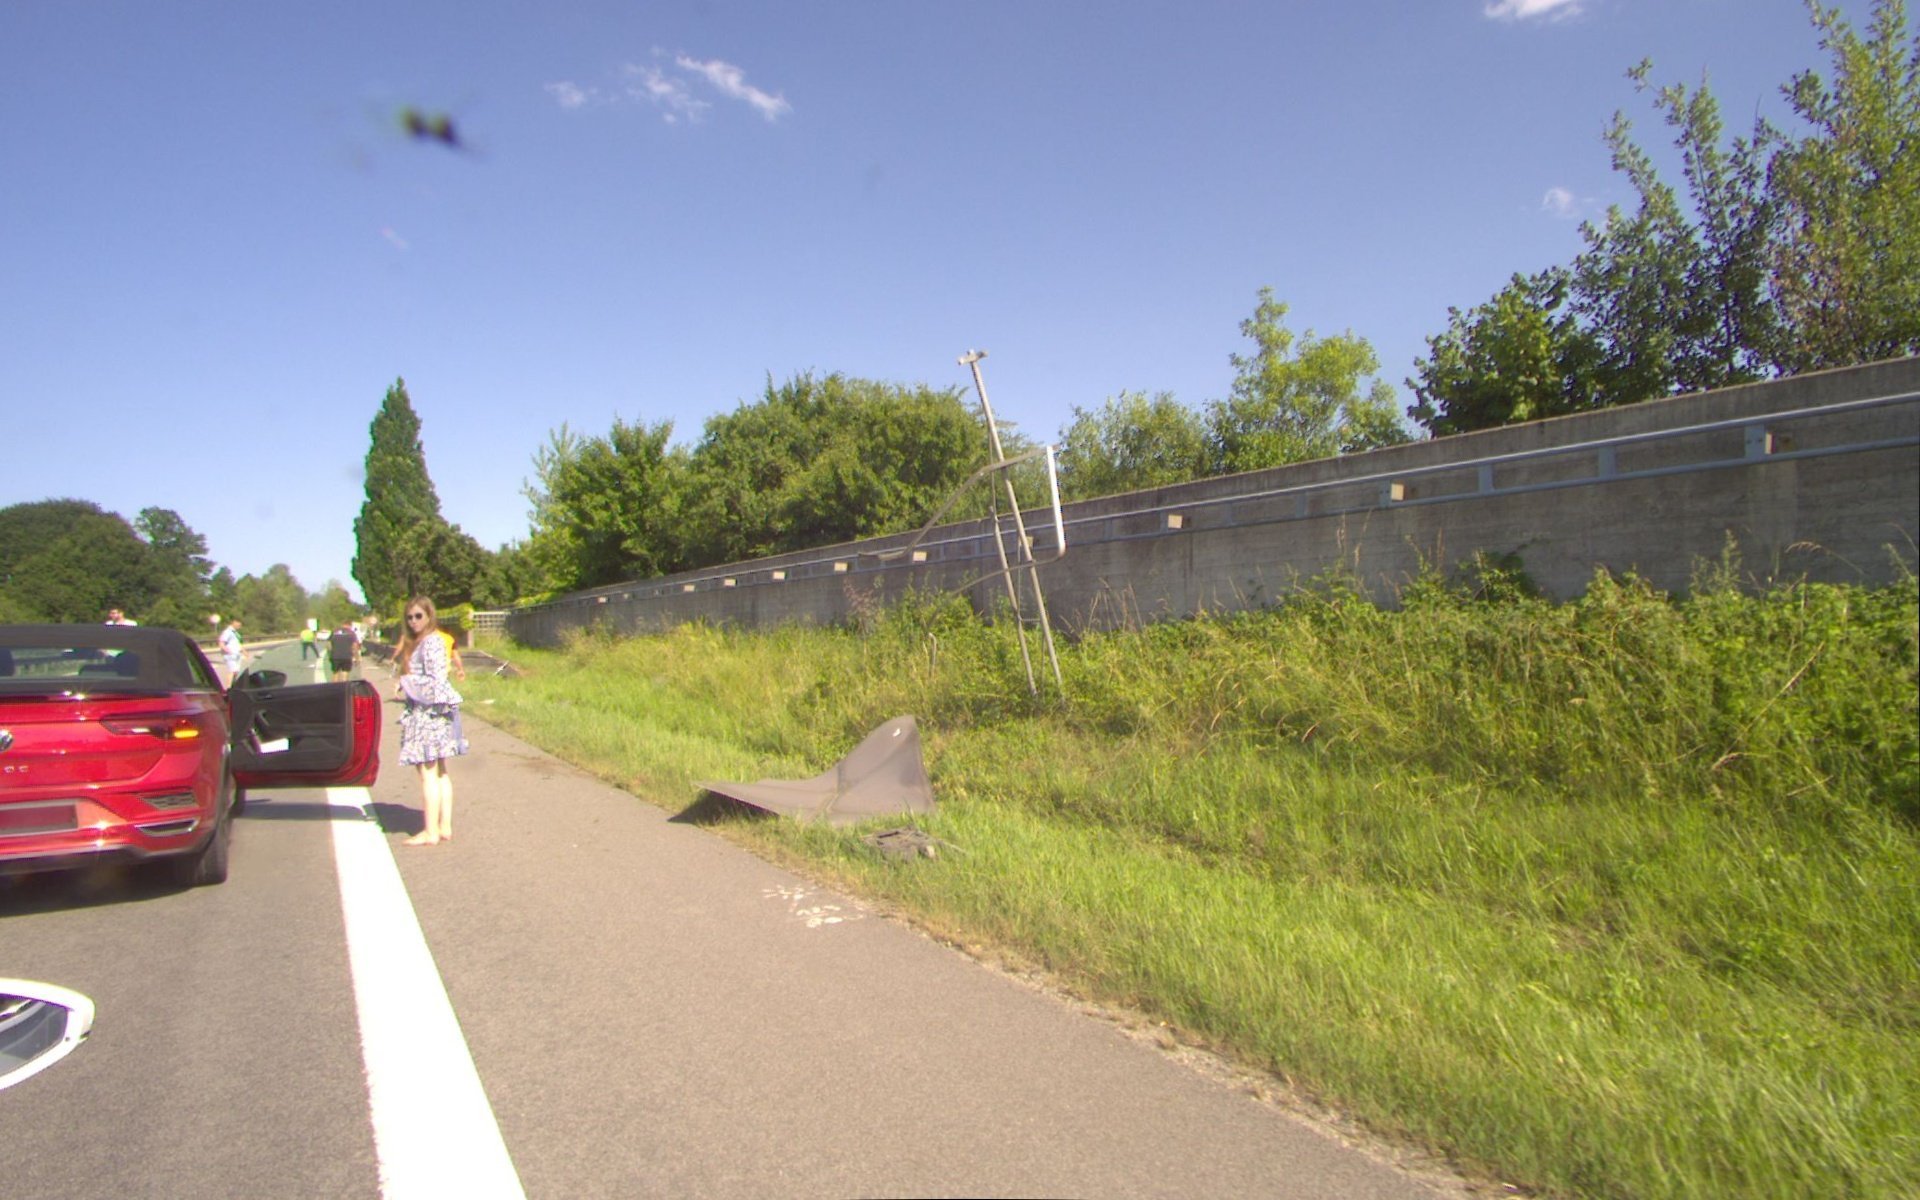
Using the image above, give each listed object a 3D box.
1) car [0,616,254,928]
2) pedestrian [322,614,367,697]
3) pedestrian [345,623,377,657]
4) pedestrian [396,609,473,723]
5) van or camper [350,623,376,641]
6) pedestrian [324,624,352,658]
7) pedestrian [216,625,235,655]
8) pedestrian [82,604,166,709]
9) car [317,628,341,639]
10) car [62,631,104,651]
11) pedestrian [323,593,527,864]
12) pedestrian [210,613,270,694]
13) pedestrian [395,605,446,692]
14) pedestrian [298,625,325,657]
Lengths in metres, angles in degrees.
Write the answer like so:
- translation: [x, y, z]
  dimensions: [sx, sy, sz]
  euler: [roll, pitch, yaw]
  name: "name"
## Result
- translation: [-5.783, 0.878, 6.584]
  dimensions: [1.715, 1.506, 4.184]
  euler: [1, -2, -33]
  name: "car"
- translation: [-13.565, 1.218, 22.076]
  dimensions: [0.803, 1.782, 0.823]
  euler: [1, -2, -32]
  name: "pedestrian"
- translation: [-30.762, 2.068, 51.443]
  dimensions: [0.980, 1.711, 1.010]
  euler: [0, -2, 10]
  name: "pedestrian"
- translation: [-8.190, 0.994, 15.581]
  dimensions: [0.948, 1.675, 1.271]
  euler: [-1, 0, -32]
  name: "pedestrian"
- translation: [-81.869, 4.417, 137.315]
  dimensions: [1.964, 2.345, 4.465]
  euler: [1, -2, -16]
  name: "van or camper"
- translation: [-32.170, 2.135, 51.830]
  dimensions: [1.100, 1.711, 0.970]
  euler: [1, -2, -26]
  name: "pedestrian"
- translation: [-42.799, 2.336, 58.348]
  dimensions: [0.782, 1.711, 0.788]
  euler: [1, -2, -29]
  name: "pedestrian"
- translation: [-16.075, 1.052, 19.295]
  dimensions: [1.095, 1.937, 1.249]
  euler: [-1, 0, -34]
  name: "pedestrian"
- translation: [-87.321, 4.648, 138.544]
  dimensions: [1.707, 1.506, 4.203]
  euler: [1, -2, -17]
  name: "car"
- translation: [-66.871, 3.115, 76.371]
  dimensions: [1.677, 1.444, 4.281]
  euler: [1, -2, -32]
  name: "car"
- translation: [-3.772, 0.825, 7.060]
  dimensions: [1.115, 1.717, 0.886]
  euler: [-1, 0, -39]
  name: "pedestrian"
- translation: [-16.704, 1.228, 23.242]
  dimensions: [1.078, 1.811, 1.100]
  euler: [1, -2, -36]
  name: "pedestrian"
- translation: [-11.093, 0.996, 20.581]
  dimensions: [0.885, 1.747, 0.751]
  euler: [1, -2, -30]
  name: "pedestrian"
- translation: [-34.111, 2.159, 52.702]
  dimensions: [1.043, 1.711, 1.013]
  euler: [1, -2, -27]
  name: "pedestrian"
